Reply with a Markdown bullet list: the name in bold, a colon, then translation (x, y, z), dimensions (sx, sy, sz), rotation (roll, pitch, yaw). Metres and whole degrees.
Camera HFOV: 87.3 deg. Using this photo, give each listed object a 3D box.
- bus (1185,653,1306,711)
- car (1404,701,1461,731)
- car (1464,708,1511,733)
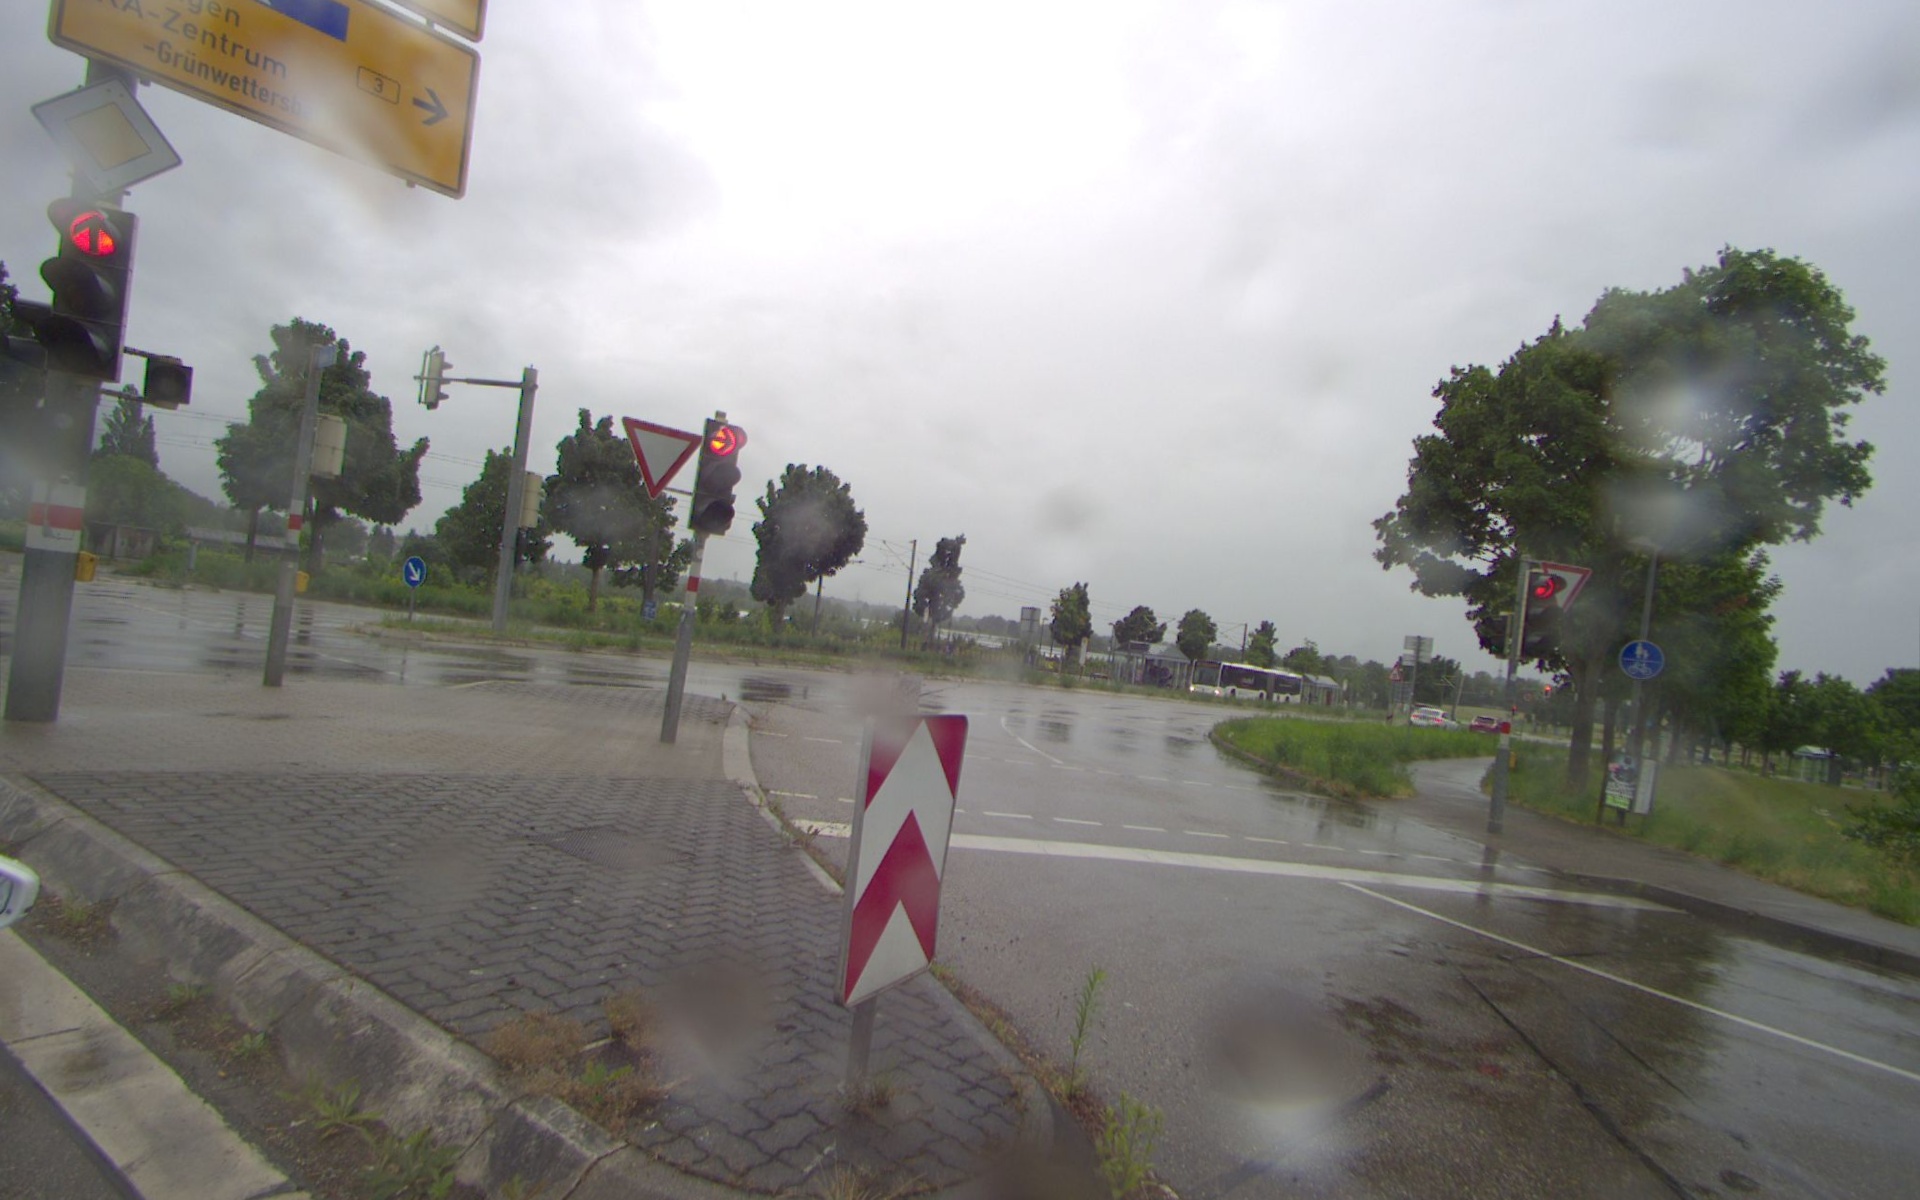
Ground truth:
- **bus**: translation (24.280, 7.029, 84.169), dimensions (2.715, 3.828, 18.379), rotation (7, -2, 38)
- **car**: translation (26.732, 6.543, 56.840), dimensions (1.853, 1.370, 4.036), rotation (6, -2, 40)
- **car**: translation (35.400, 8.108, 67.481), dimensions (1.853, 1.370, 4.036), rotation (6, -2, 40)
